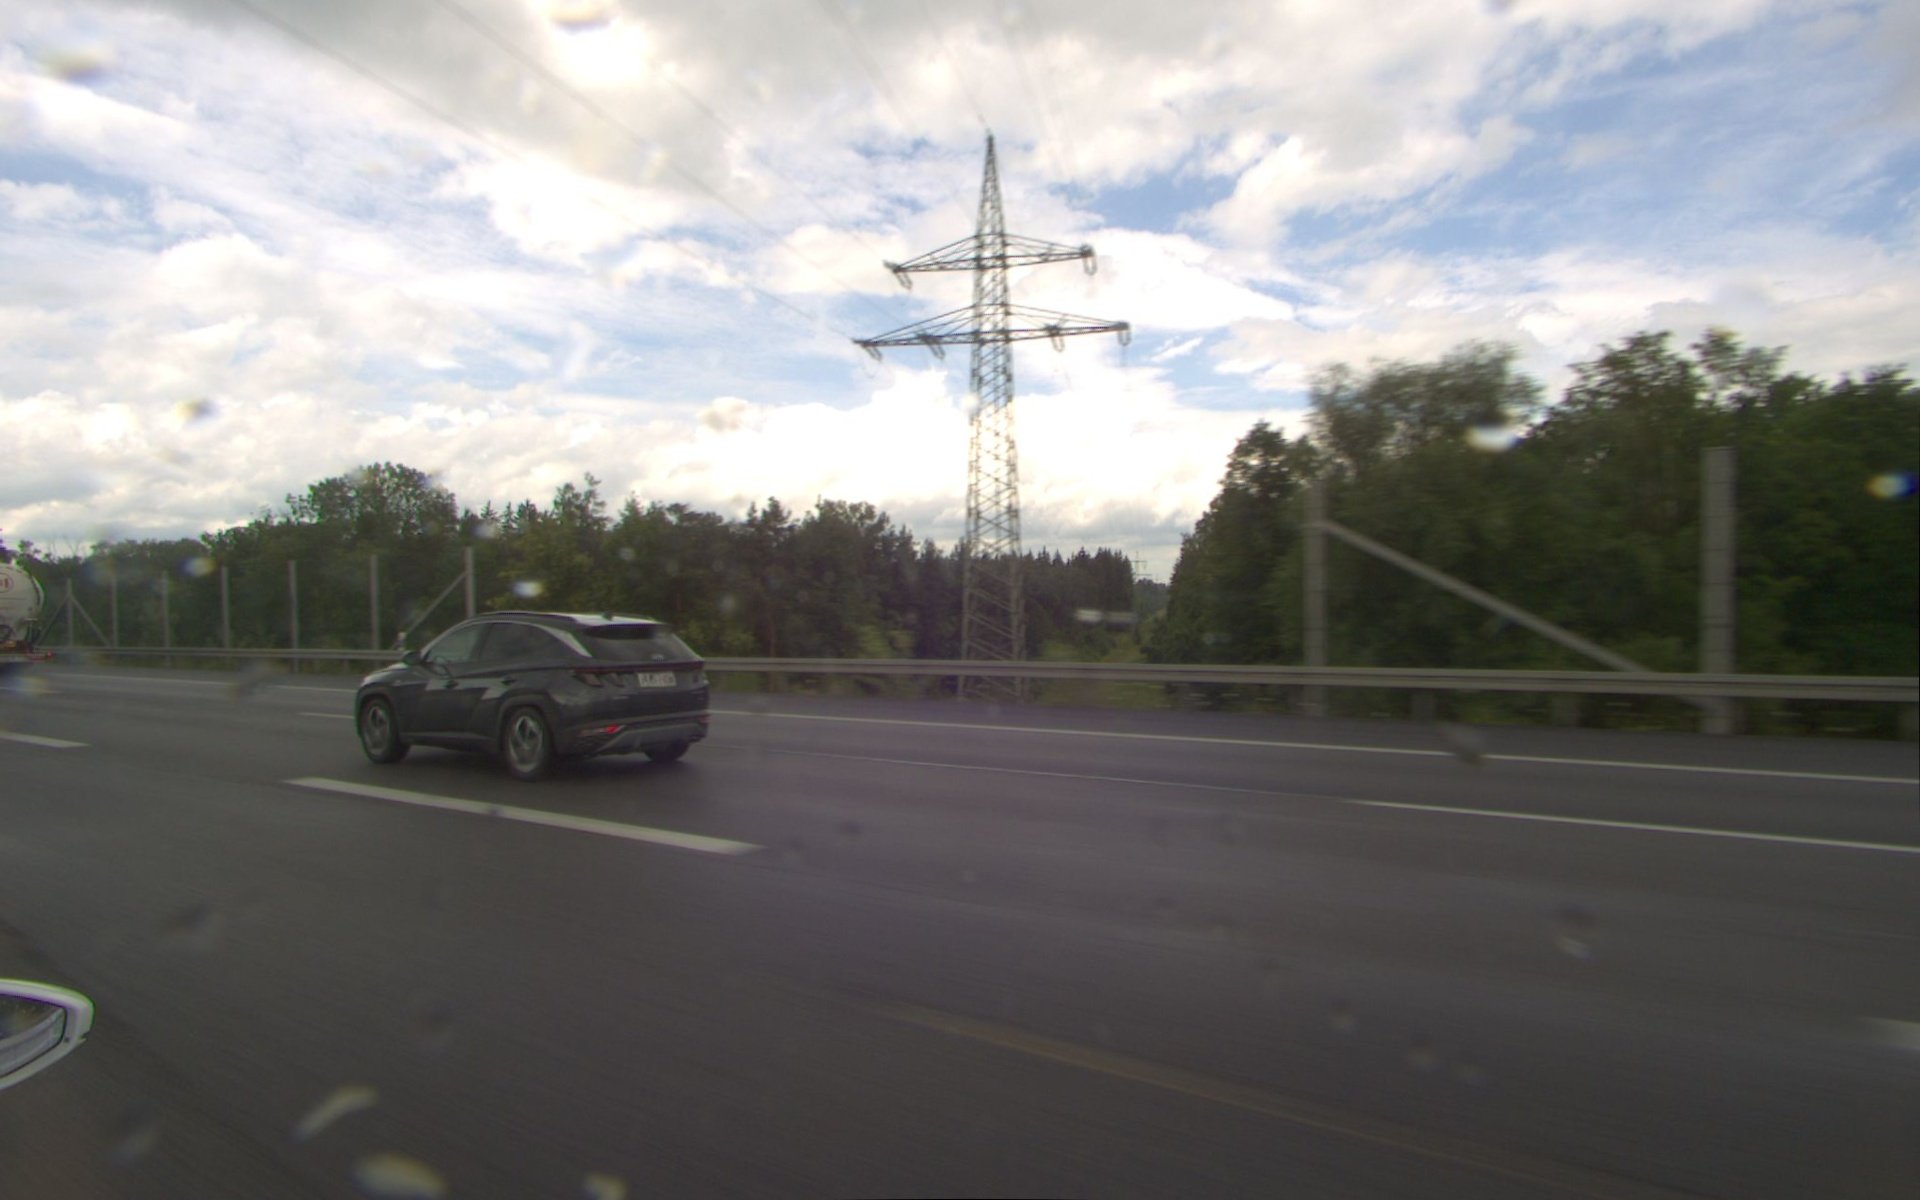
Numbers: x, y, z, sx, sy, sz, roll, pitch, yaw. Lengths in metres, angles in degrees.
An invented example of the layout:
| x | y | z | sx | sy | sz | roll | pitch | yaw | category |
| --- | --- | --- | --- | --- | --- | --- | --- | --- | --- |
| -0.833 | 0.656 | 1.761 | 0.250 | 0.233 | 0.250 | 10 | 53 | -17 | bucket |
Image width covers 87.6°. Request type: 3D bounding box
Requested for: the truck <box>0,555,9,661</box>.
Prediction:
| x | y | z | sx | sy | sz | roll | pitch | yaw | category |
| --- | --- | --- | --- | --- | --- | --- | --- | --- | --- |
| -41.389 | 0.315 | 39.828 | 8.154 | 4.133 | 3.327 | -1 | -1 | 33 | truck |

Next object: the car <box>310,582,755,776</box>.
| x | y | z | sx | sy | sz | roll | pitch | yaw | category |
| --- | --- | --- | --- | --- | --- | --- | --- | --- | --- |
| -4.818 | 0.771 | 11.075 | 4.935 | 1.721 | 2.041 | -2 | 0 | 32 | car |

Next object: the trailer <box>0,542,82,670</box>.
| x | y | z | sx | sy | sz | roll | pitch | yaw | category |
| --- | --- | --- | --- | --- | --- | --- | --- | --- | --- |
| -36.464 | 0.270 | 36.710 | 11.669 | 4.230 | 3.327 | -1 | -1 | 33 | trailer |
